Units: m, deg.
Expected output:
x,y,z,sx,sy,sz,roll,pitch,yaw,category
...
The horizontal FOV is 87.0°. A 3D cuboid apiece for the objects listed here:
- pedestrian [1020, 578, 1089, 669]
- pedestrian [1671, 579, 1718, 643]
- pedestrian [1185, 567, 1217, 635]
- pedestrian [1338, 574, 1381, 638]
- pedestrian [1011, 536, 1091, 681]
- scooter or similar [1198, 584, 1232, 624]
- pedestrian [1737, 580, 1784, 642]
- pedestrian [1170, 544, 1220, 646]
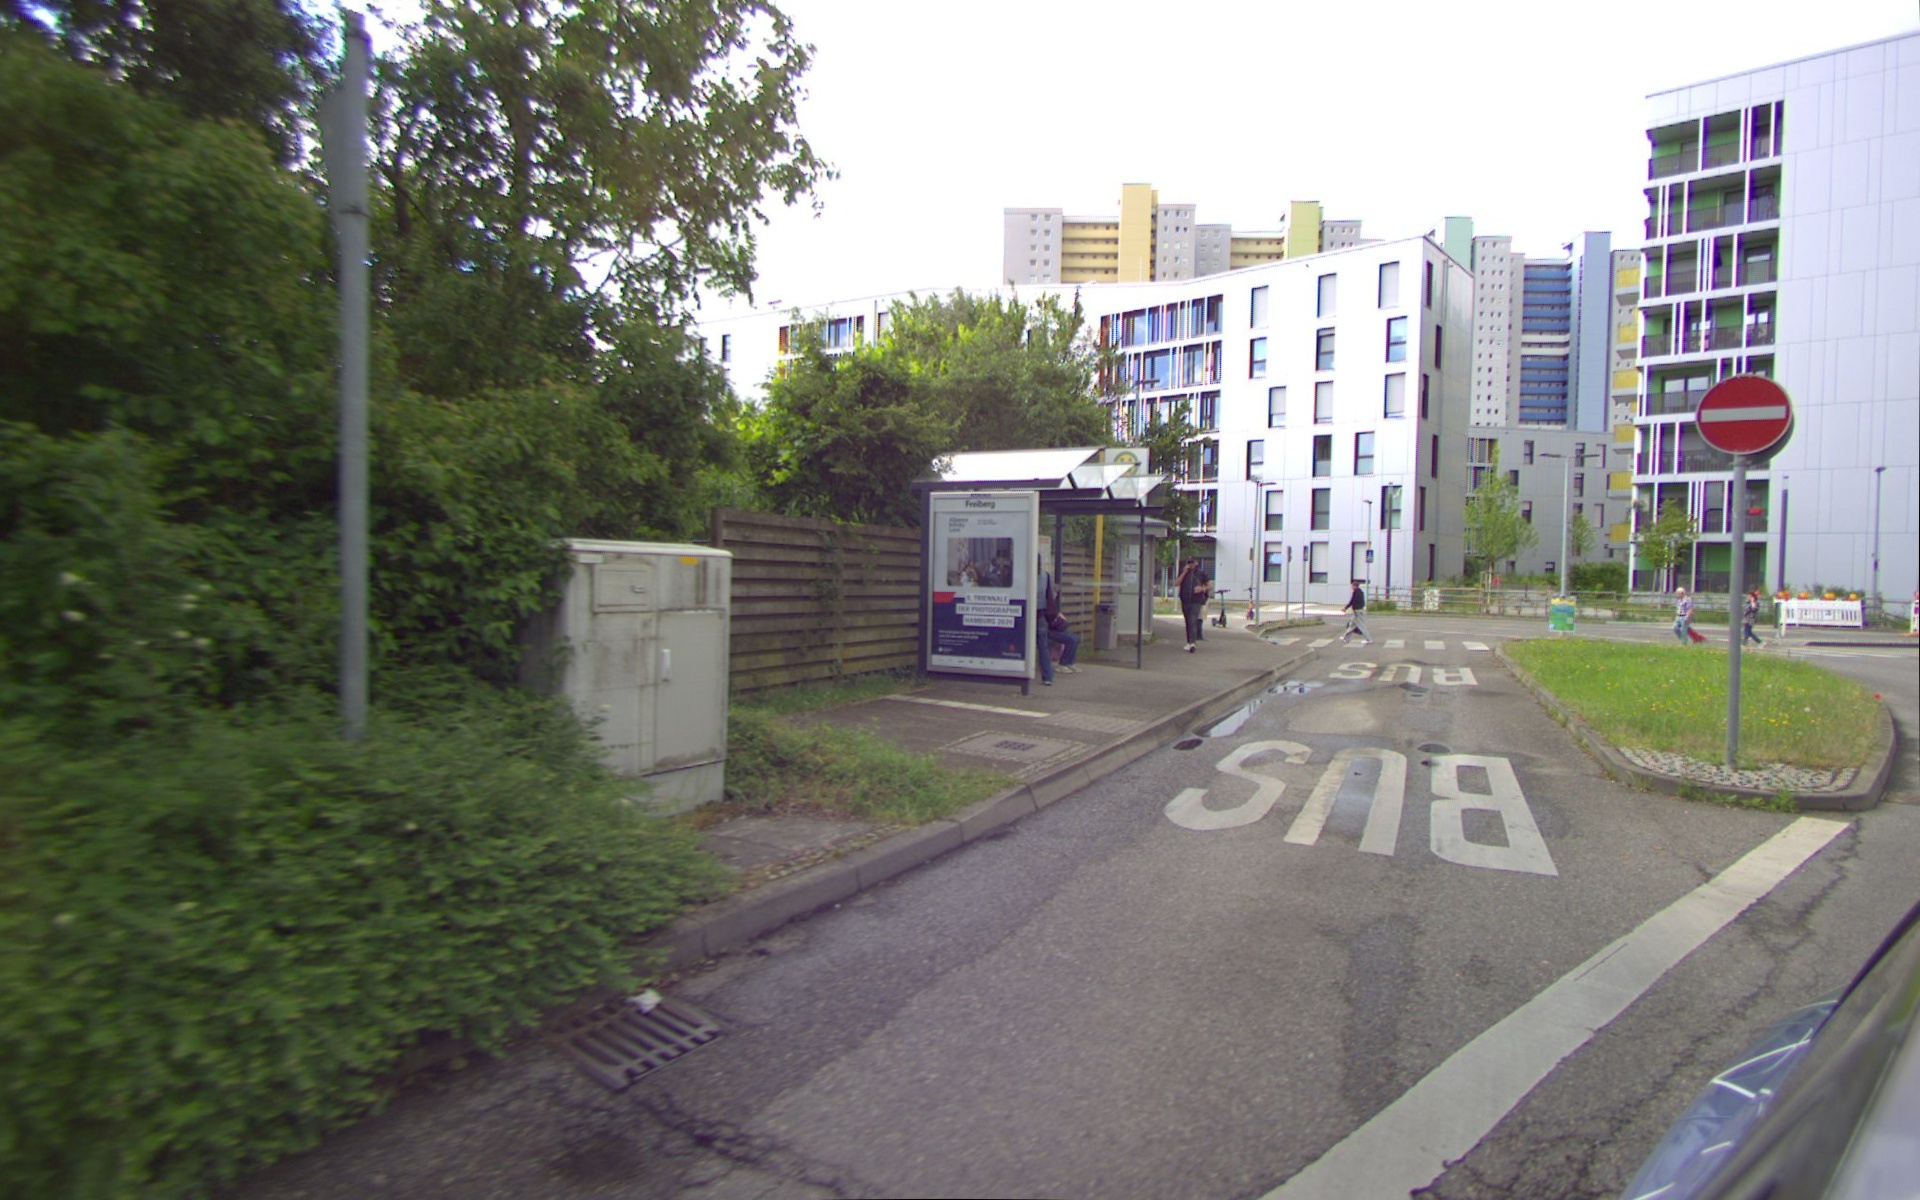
x,y,z,sx,sy,sz,roll,pitch,yaw,category
1.303,0.297,13.831,0.741,1.184,0.766,1,1,22,pedestrian
19.641,0.280,27.062,0.684,1.653,0.724,-2,4,-25,pedestrian
5.877,0.014,24.697,0.678,1.613,0.767,1,1,18,pedestrian
11.332,0.157,28.693,1.051,1.768,0.949,1,1,26,pedestrian
1.106,0.083,12.230,0.681,1.670,0.763,2,1,31,pedestrian
8.816,0.116,35.050,0.609,1.290,1.498,0,3,-8,scooter or similar
20.966,0.271,26.499,0.678,1.586,0.733,0,1,-29,pedestrian
4.380,-0.102,18.903,0.843,1.845,0.981,1,0,11,pedestrian
